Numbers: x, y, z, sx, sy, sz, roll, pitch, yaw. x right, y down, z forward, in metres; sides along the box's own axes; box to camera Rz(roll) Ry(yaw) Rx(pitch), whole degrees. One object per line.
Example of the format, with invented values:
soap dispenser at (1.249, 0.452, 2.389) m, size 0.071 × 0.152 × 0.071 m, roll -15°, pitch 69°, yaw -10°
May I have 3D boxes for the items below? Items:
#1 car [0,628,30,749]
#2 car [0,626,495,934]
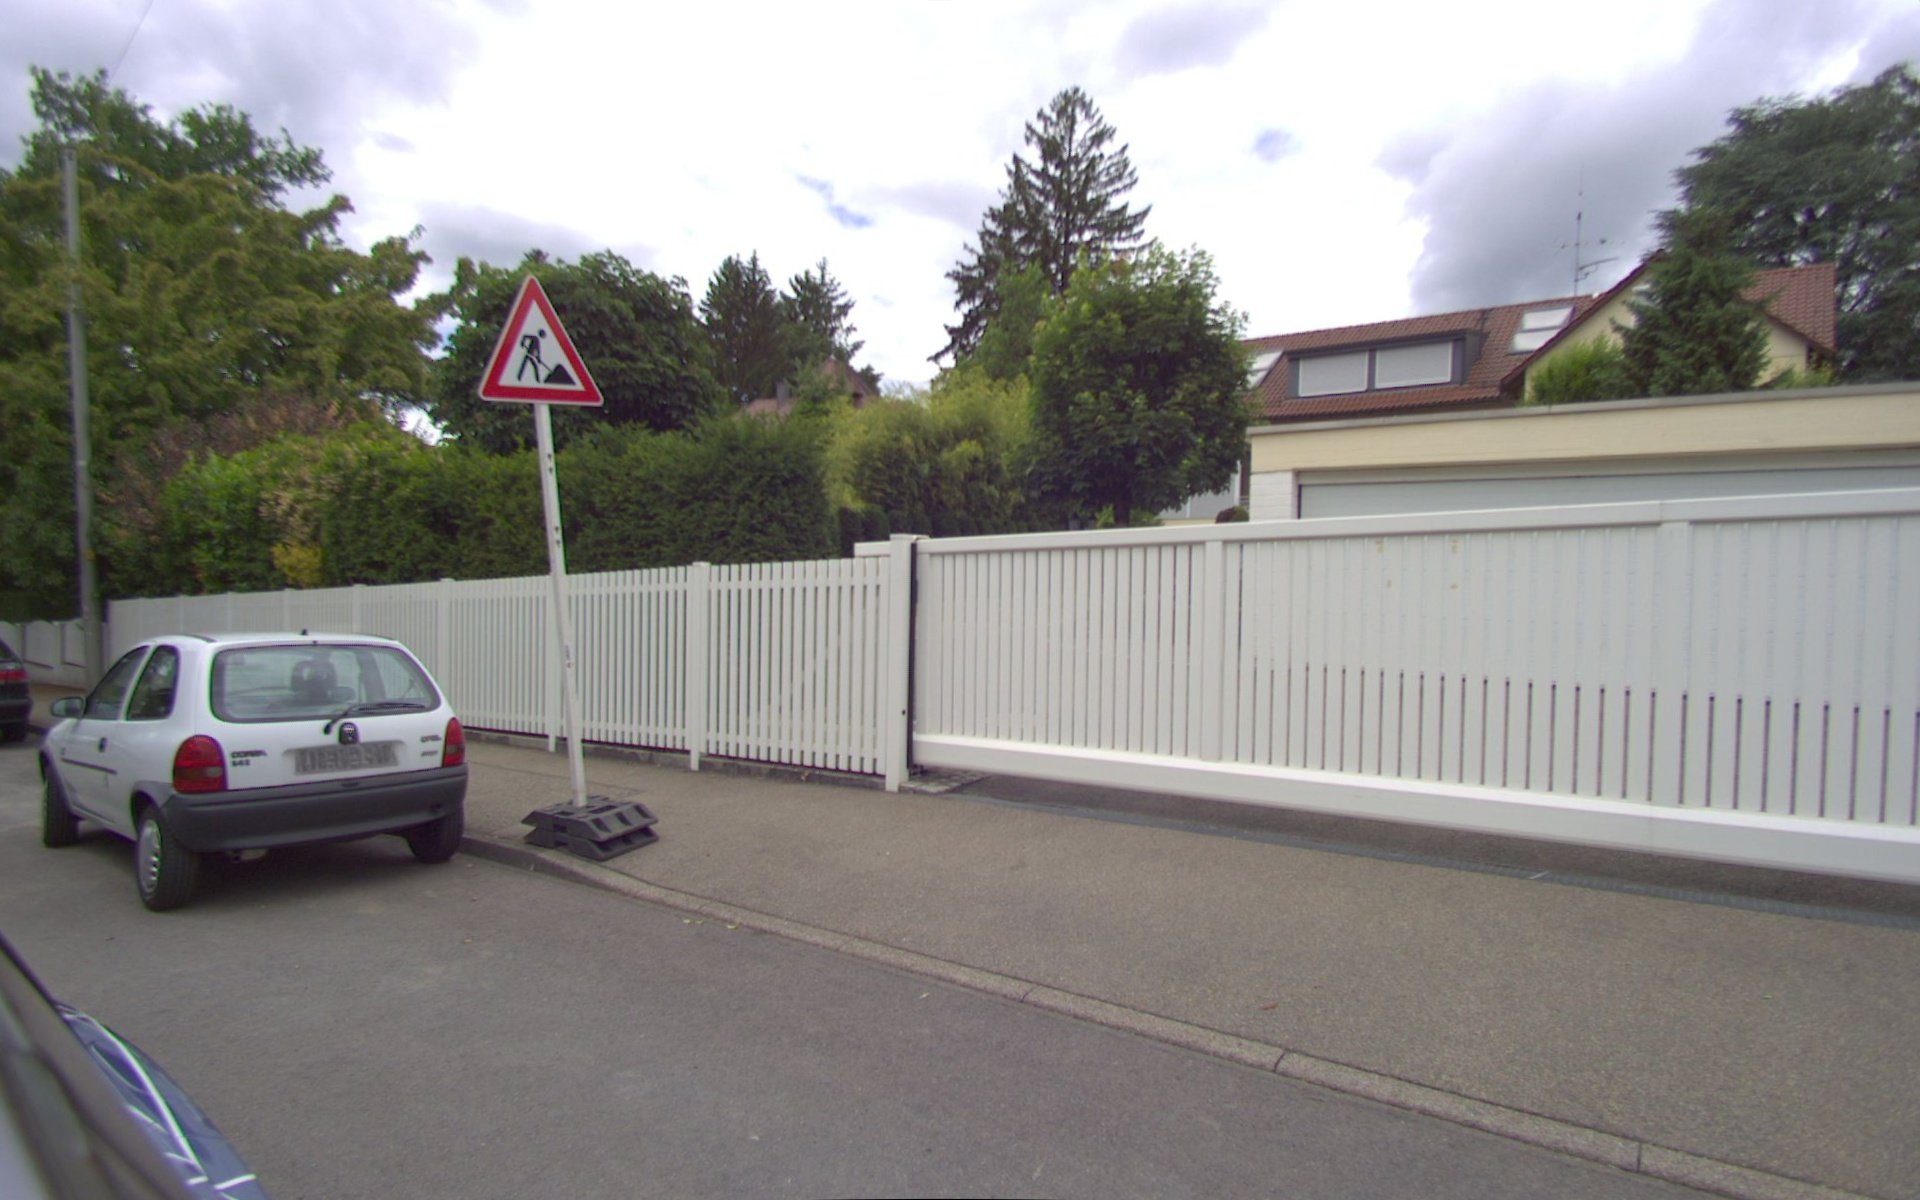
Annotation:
car at (-13.487, 1.068, 13.000) m, size 4.545 × 1.433 × 1.624 m, roll -1°, pitch -3°, yaw 39°
car at (-4.820, 0.892, 6.626) m, size 3.994 × 1.444 × 1.580 m, roll -1°, pitch -2°, yaw 38°
